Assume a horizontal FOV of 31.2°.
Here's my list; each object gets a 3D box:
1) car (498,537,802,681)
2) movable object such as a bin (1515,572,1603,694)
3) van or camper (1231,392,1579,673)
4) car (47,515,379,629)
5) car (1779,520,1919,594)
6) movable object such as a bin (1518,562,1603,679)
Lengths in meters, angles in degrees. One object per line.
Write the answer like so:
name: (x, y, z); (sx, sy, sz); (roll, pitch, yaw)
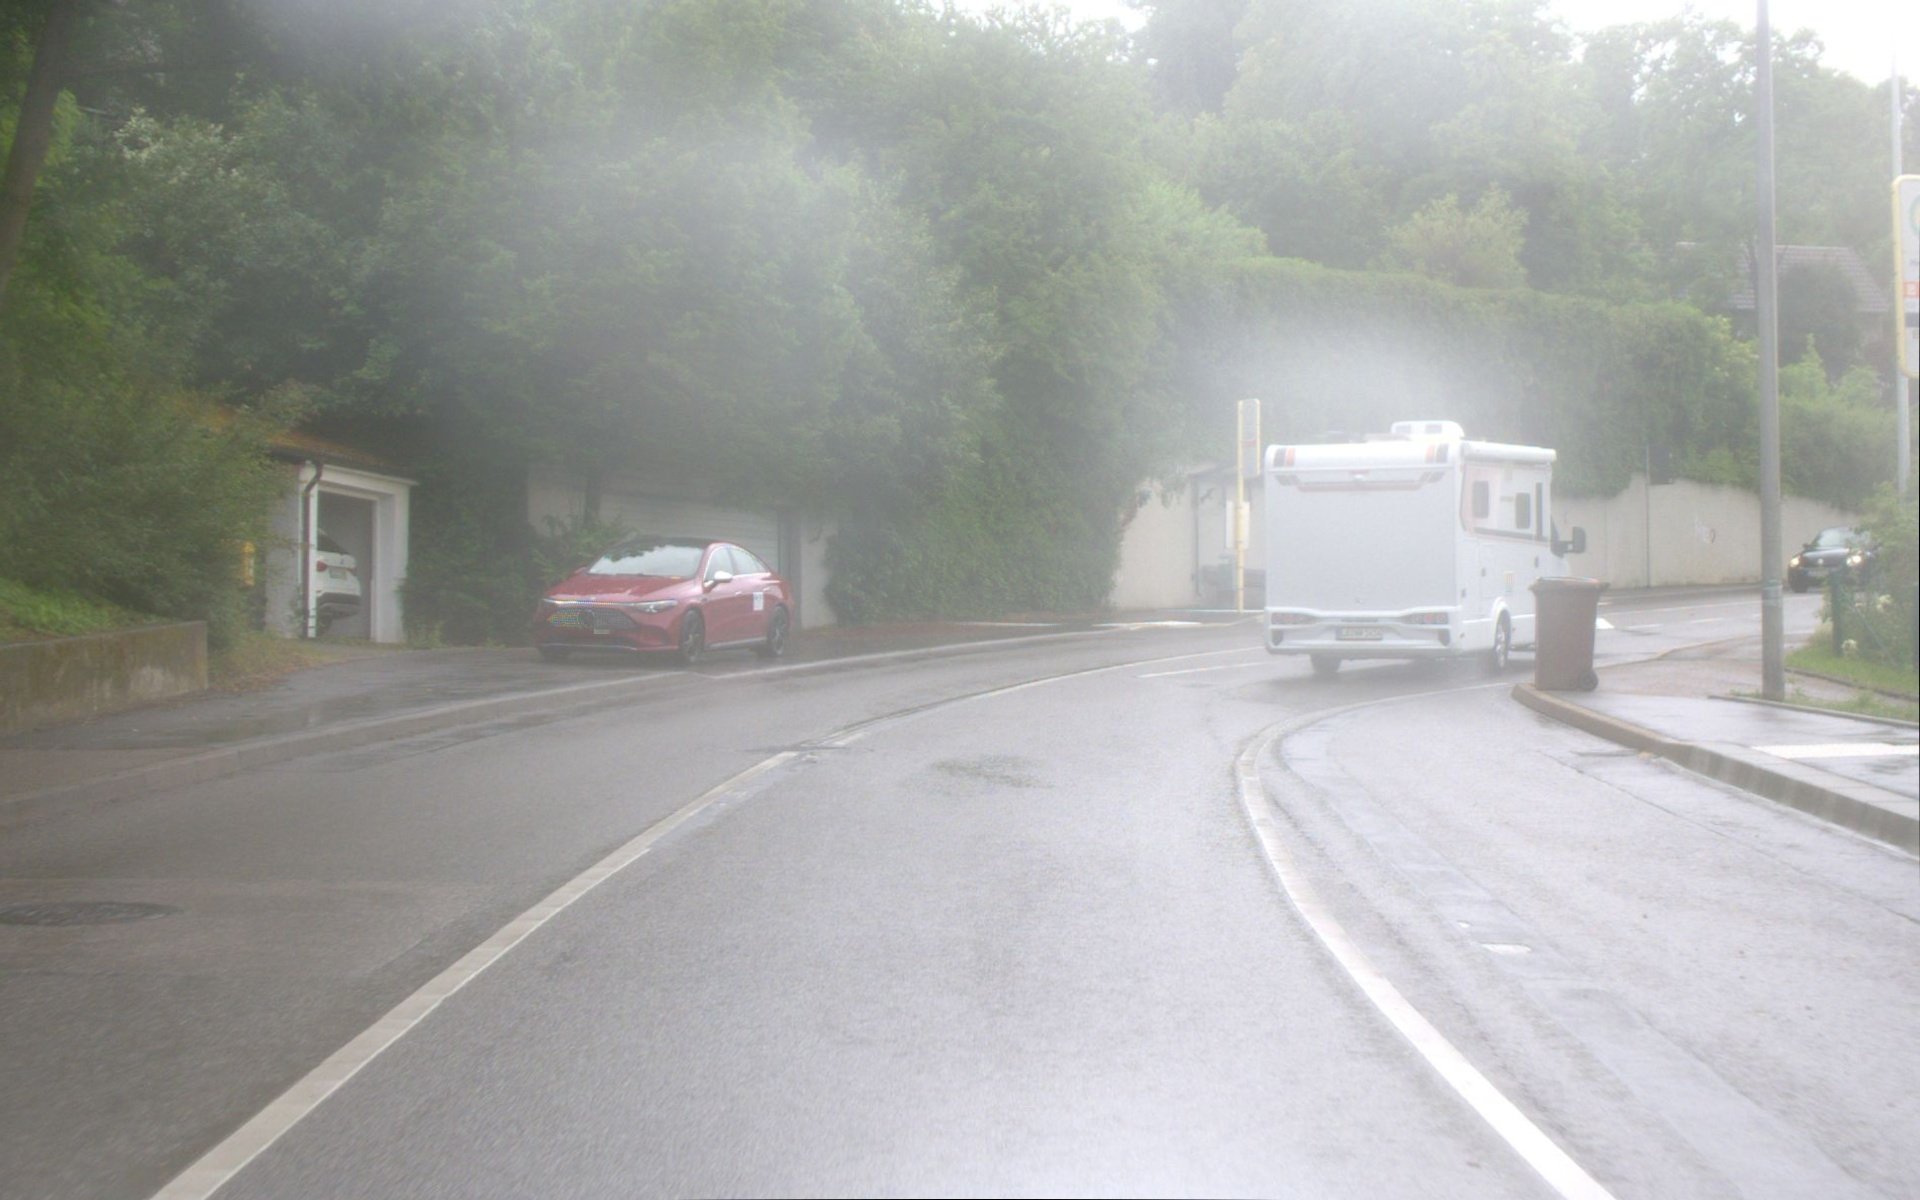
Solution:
car: (-3.600, 0.055, 40.826); (1.995, 1.556, 4.649); (1, 1, 17)
movable object such as a bin: (5.654, 0.302, 32.491); (0.778, 1.129, 0.738); (0, 1, 7)
van or camper: (5.354, -0.795, 40.458); (2.543, 2.915, 5.942); (-4, 0, 21)
car: (-10.126, -0.386, 46.700); (3.990, 1.498, 1.877); (0, 1, 16)
car: (19.821, -0.962, 75.941); (1.730, 1.411, 3.991); (-4, 0, 39)
movable object such as a bin: (5.916, 0.195, 33.892); (0.778, 1.129, 0.738); (0, 1, 7)
